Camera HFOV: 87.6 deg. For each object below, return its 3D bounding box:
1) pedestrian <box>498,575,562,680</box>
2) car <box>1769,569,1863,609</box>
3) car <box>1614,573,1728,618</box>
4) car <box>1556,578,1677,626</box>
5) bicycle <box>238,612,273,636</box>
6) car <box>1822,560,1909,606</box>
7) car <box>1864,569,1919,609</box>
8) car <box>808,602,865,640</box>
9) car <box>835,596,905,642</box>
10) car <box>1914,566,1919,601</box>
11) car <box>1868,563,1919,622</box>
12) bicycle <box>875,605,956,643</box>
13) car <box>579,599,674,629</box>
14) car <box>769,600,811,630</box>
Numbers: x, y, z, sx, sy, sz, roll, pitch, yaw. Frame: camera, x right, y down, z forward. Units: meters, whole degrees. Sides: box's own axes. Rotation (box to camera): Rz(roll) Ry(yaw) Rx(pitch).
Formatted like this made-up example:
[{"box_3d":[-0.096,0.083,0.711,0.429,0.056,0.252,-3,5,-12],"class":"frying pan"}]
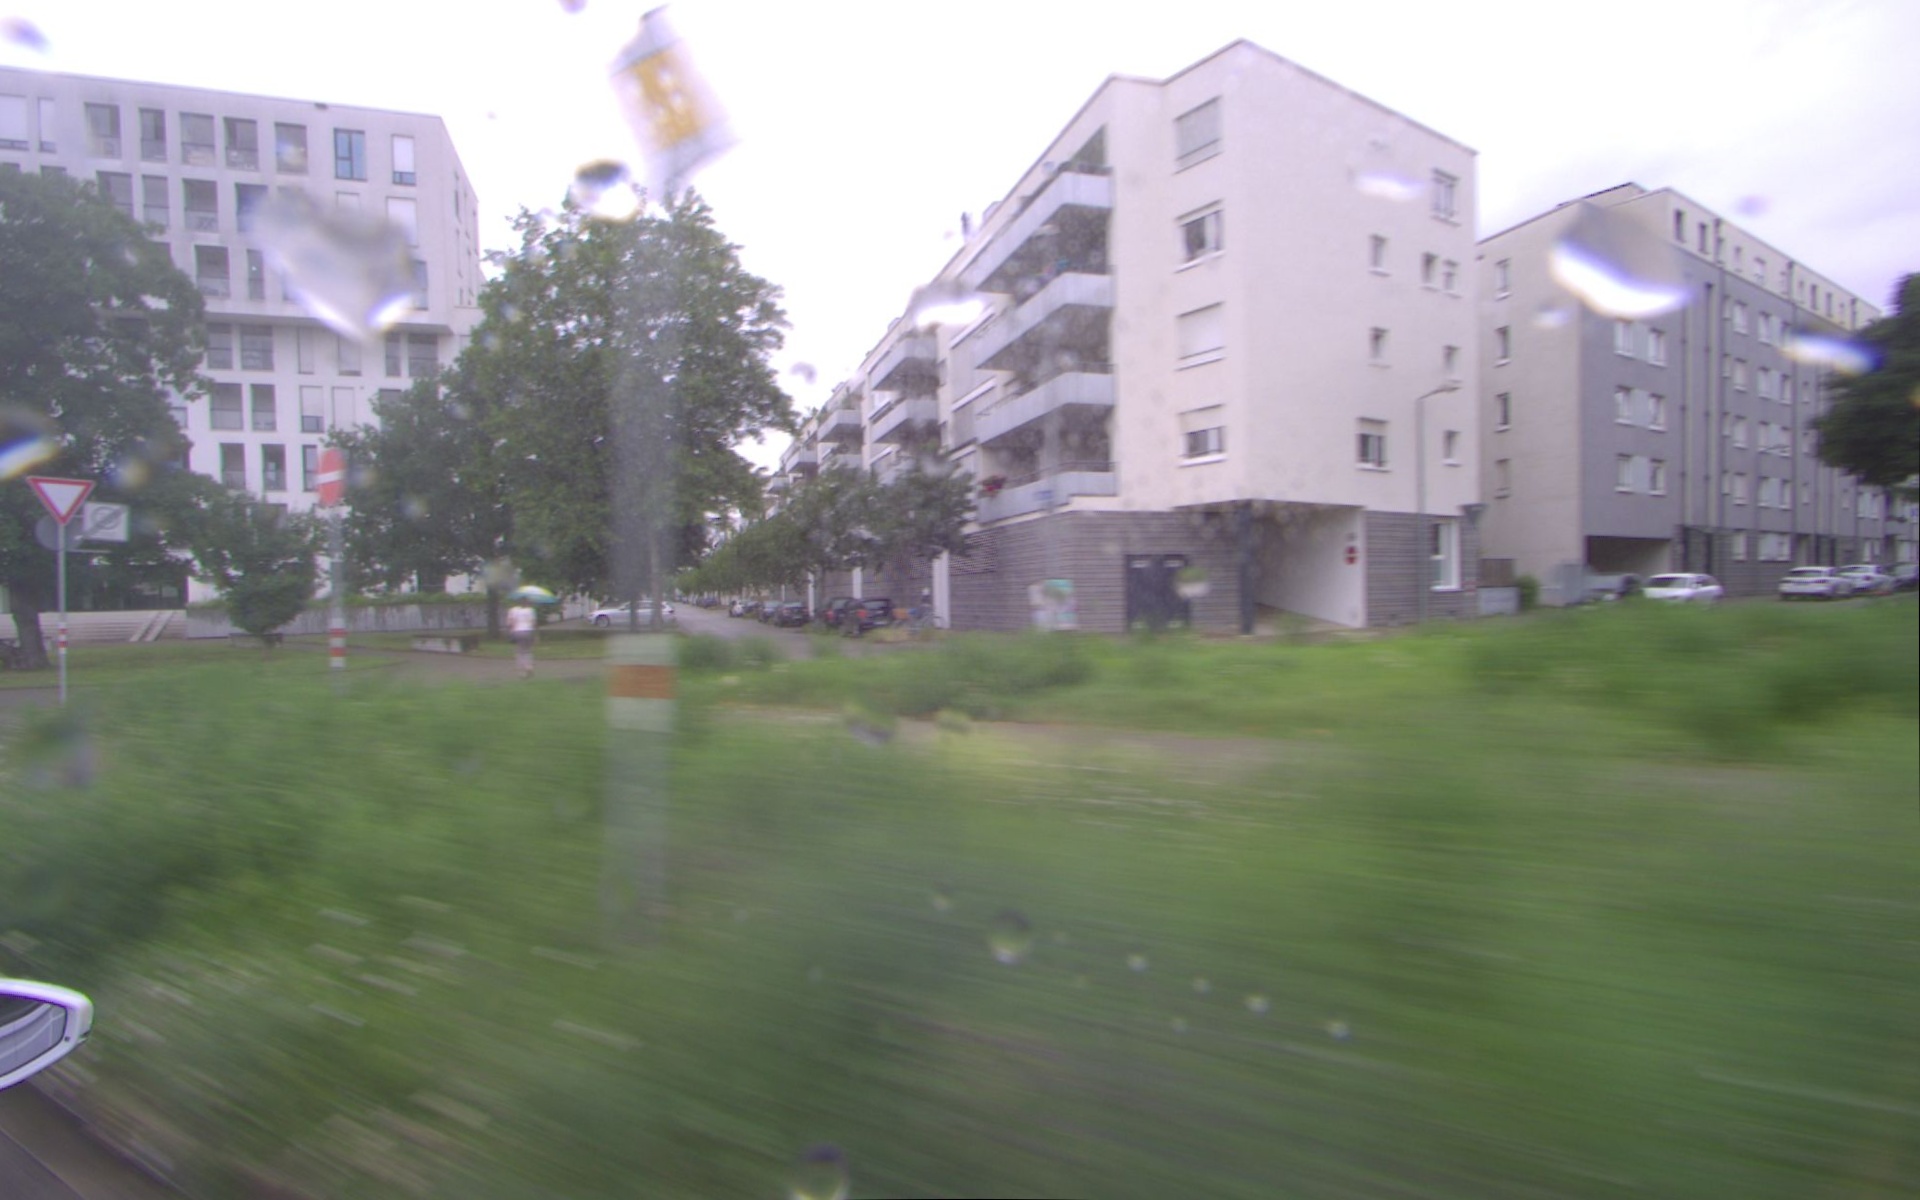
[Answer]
[{"box_3d":[-8.611,0.536,20.082,0.614,2.041,0.963,0,1,32],"class":"pedestrian"},{"box_3d":[38.065,-0.474,44.506,4.360,1.707,1.988,-1,0,-32],"class":"car"},{"box_3d":[24.521,-0.165,34.489,4.410,1.451,1.985,-1,0,-37],"class":"car"},{"box_3d":[20.973,0.040,31.952,3.777,1.434,1.986,-1,0,-35],"class":"car"},{"box_3d":[-32.625,1.097,46.370,0.712,1.047,2.069,-1,0,-18],"class":"bicycle"},{"box_3d":[44.121,-0.795,48.762,4.925,2.125,1.987,-1,0,-34],"class":"car"},{"box_3d":[50.619,-0.563,53.763,5.396,2.040,1.986,-1,0,-35],"class":"car"},{"box_3d":[-5.457,0.890,43.798,1.704,1.569,3.991,-1,0,-18],"class":"car"},{"box_3d":[-3.460,0.682,37.683,1.704,1.569,4.112,-1,0,-18],"class":"car"},{"box_3d":[59.396,-1.020,60.223,5.340,2.040,2.120,-1,0,-37],"class":"car"},{"box_3d":[24.780,-0.211,23.785,1.790,1.452,4.493,-1,0,-34],"class":"car"},{"box_3d":[-1.392,0.739,31.308,2.440,1.102,0.724,-1,1,-17],"class":"bicycle"},{"box_3d":[-17.833,0.757,53.791,4.751,1.527,1.621,1,0,-17],"class":"car"},{"box_3d":[-9.865,0.841,57.835,1.744,1.569,4.134,-3,2,-18],"class":"car"}]
